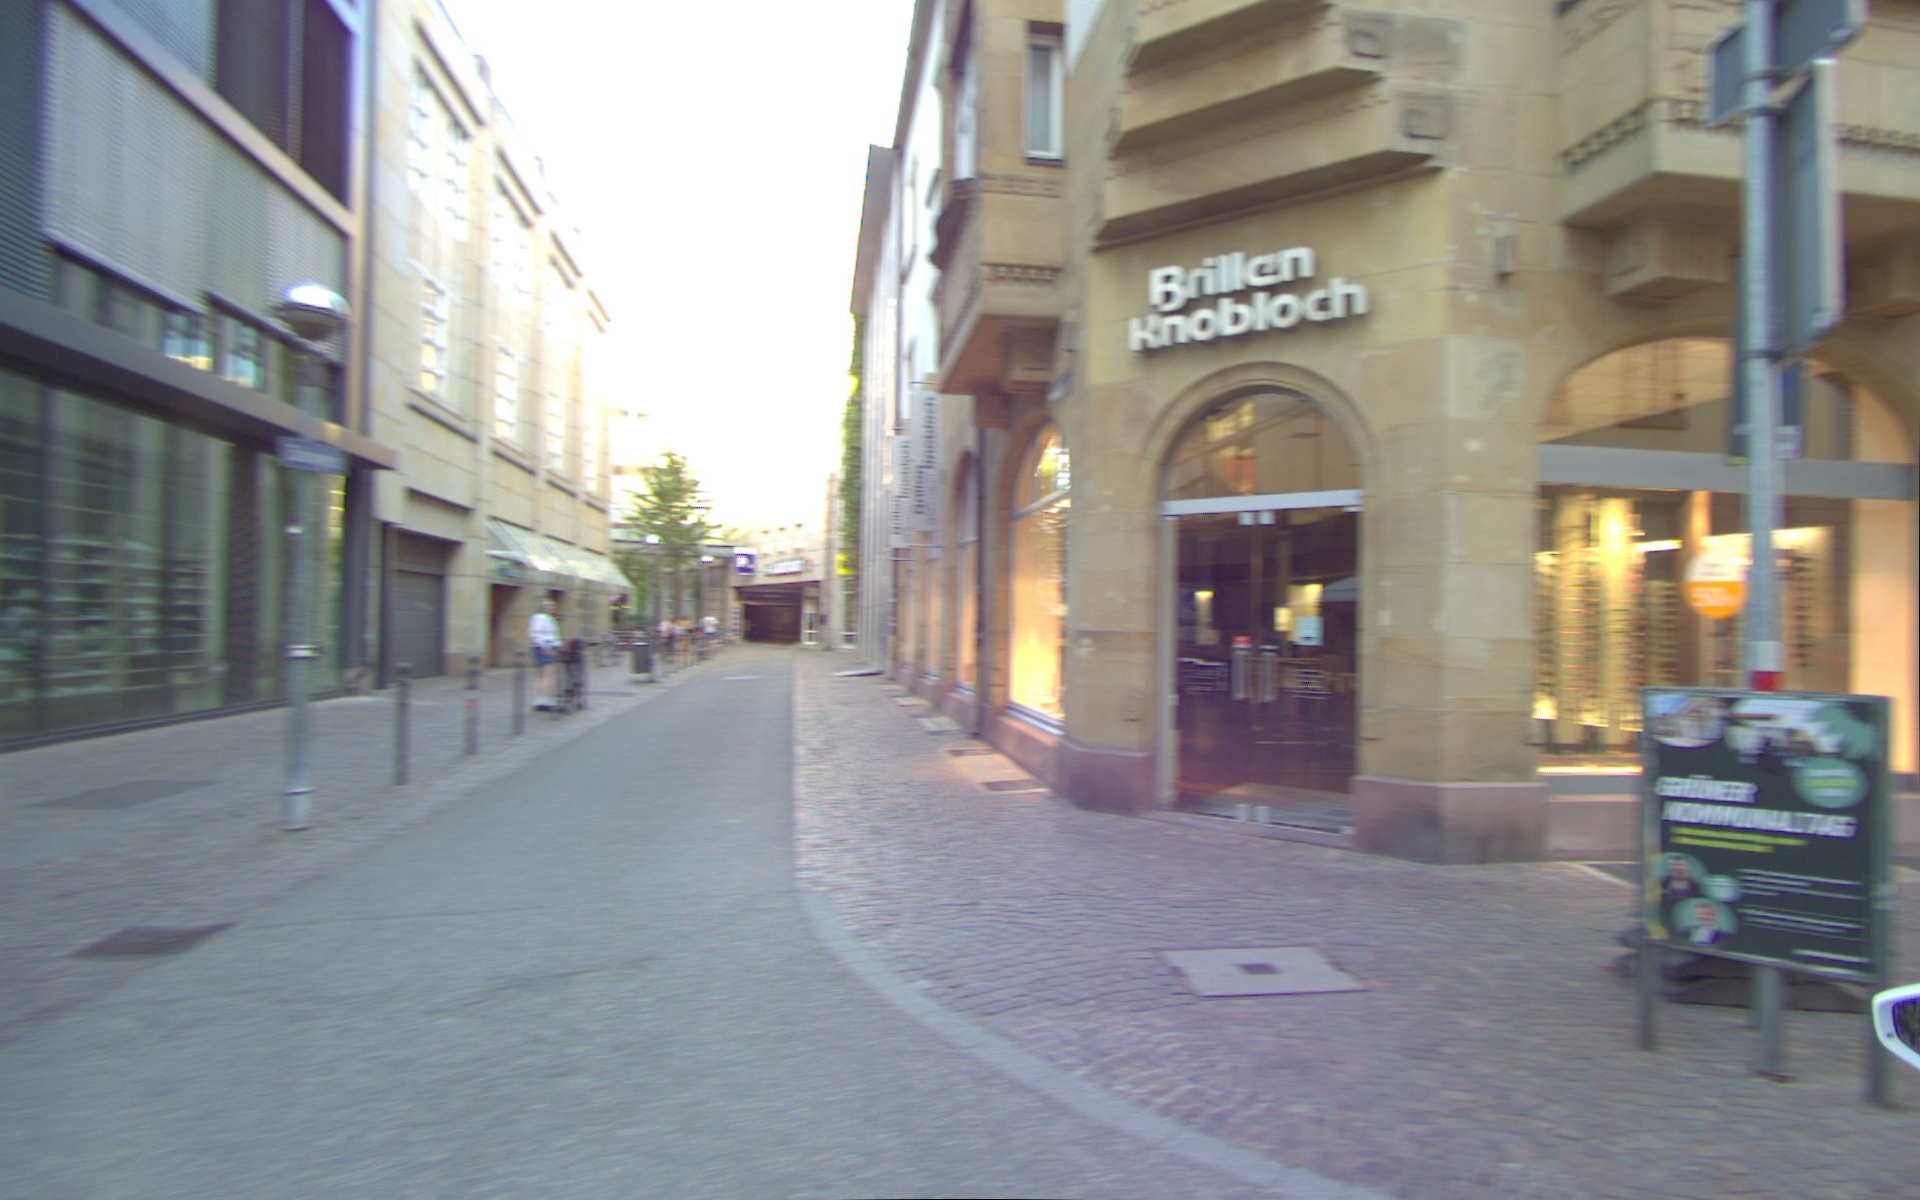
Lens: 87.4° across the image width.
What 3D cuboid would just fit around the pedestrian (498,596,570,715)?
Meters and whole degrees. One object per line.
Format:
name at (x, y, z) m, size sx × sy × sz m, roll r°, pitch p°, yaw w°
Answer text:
pedestrian at (-6.653, 0.864, 15.728) m, size 0.894 × 1.814 × 0.609 m, roll 1°, pitch -1°, yaw -11°

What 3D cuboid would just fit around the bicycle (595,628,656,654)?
bicycle at (-16.147, 1.983, 48.495) m, size 2.732 × 1.216 × 0.728 m, roll 1°, pitch -1°, yaw -28°

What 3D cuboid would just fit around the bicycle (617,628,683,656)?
bicycle at (-13.756, 1.856, 44.627) m, size 2.732 × 1.216 × 0.728 m, roll 1°, pitch -1°, yaw -28°

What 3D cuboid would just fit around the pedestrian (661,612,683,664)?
pedestrian at (-10.027, 1.322, 34.915) m, size 0.649 × 1.787 × 0.613 m, roll 1°, pitch -1°, yaw -22°

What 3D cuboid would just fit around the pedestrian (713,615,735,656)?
pedestrian at (-10.428, 1.554, 44.423) m, size 0.850 × 1.780 × 0.798 m, roll 2°, pitch -2°, yaw -8°

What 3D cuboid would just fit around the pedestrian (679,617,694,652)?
pedestrian at (-12.880, 1.640, 47.332) m, size 0.576 × 1.625 × 0.627 m, roll 2°, pitch -2°, yaw -8°

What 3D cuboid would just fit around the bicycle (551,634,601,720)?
bicycle at (-6.009, 1.164, 15.774) m, size 0.405 × 1.248 × 1.824 m, roll 1°, pitch -1°, yaw -11°

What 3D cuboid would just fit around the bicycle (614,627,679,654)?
bicycle at (-14.324, 1.841, 45.918) m, size 2.732 × 1.216 × 0.728 m, roll 1°, pitch -1°, yaw -28°

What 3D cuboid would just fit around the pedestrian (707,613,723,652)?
pedestrian at (-11.480, 1.519, 47.135) m, size 0.621 × 1.780 × 0.798 m, roll 2°, pitch -2°, yaw -8°

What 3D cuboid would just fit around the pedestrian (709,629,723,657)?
pedestrian at (-10.285, 1.813, 42.331) m, size 0.459 × 1.183 × 0.521 m, roll 2°, pitch -2°, yaw -8°

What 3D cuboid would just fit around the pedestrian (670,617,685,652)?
pedestrian at (-13.511, 1.650, 48.054) m, size 0.581 × 1.625 × 0.665 m, roll 1°, pitch -2°, yaw -8°

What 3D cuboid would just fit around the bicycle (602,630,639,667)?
bicycle at (-10.781, 1.526, 31.957) m, size 0.473 × 1.095 × 2.242 m, roll 1°, pitch -1°, yaw -2°

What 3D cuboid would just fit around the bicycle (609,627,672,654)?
bicycle at (-14.865, 1.896, 46.764) m, size 2.732 × 1.216 × 0.728 m, roll 1°, pitch -1°, yaw -28°
